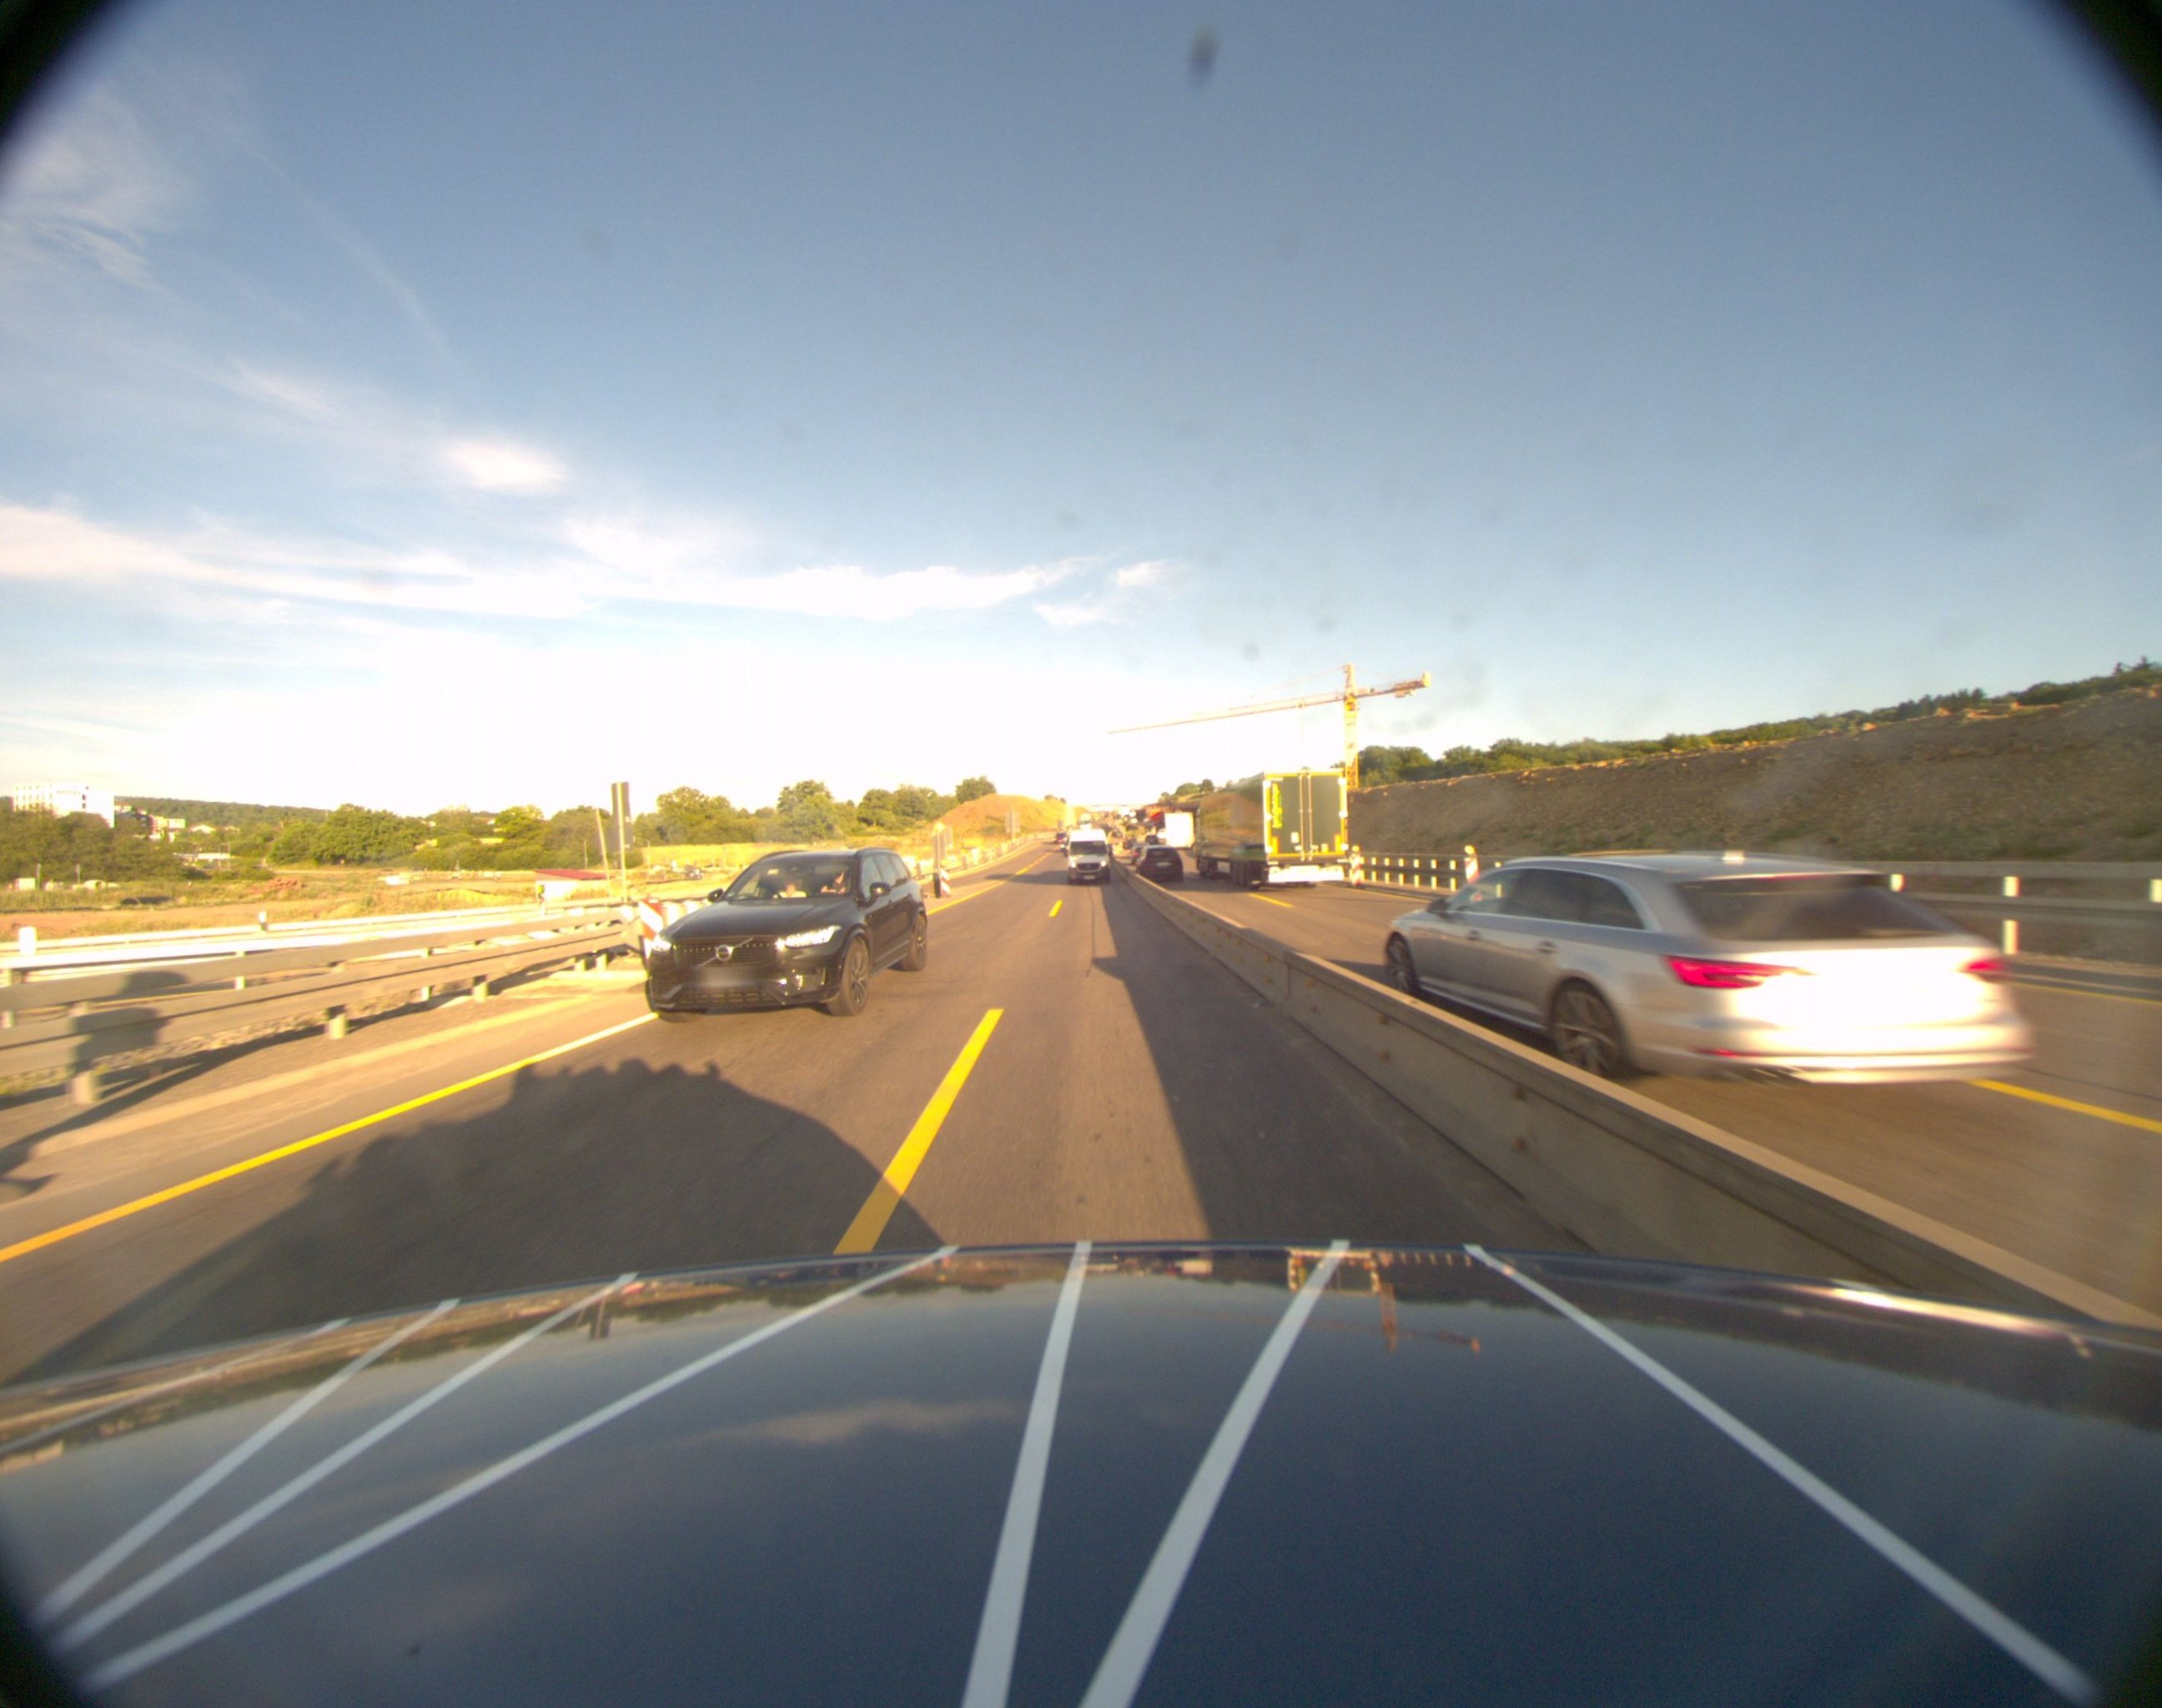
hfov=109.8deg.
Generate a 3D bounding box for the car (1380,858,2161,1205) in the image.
[{"bbox_3d":[3.908,0.807,5.464,1.866,1.423,4.155,-3,0,1],"label":"car"}]

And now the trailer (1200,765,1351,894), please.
[{"bbox_3d":[7.208,-0.827,30.871,2.780,4.008,13.681,-1,0,1],"label":"trailer"}]

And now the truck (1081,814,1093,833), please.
[{"bbox_3d":[1.280,-6.691,166.354,2.264,3.707,6.568,-5,3,-1],"label":"truck"}]

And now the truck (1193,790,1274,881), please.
[{"bbox_3d":[7.329,-0.861,37.278,2.776,4.057,5.775,-2,1,1],"label":"truck"}]

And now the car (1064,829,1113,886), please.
[{"bbox_3d":[0.413,0.082,37.131,2.109,2.519,5.218,-2,2,2],"label":"car"}]

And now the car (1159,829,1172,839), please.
[{"bbox_3d":[13.170,-3.123,118.611,1.792,1.480,4.219,-1,2,5],"label":"car"}]

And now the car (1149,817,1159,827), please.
[{"bbox_3d":[17.564,-7.688,182.267,1.997,2.003,5.257,-2,3,10],"label":"car"}]

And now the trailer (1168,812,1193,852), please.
[{"bbox_3d":[11.758,-2.703,89.886,2.536,4.190,13.935,-3,2,7],"label":"trailer"}]

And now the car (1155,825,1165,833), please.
[{"bbox_3d":[16.746,-5.375,161.741,1.792,1.611,4.874,-2,3,9],"label":"car"}]

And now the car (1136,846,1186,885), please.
[{"bbox_3d":[3.749,0.501,36.154,1.916,1.600,4.494,-2,1,1],"label":"car"}]

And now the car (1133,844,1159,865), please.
[{"bbox_3d":[4.798,0.021,56.222,1.719,1.401,4.327,-2,1,3],"label":"car"}]

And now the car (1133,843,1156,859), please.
[{"bbox_3d":[5.847,-0.304,70.560,1.841,1.401,4.494,-2,1,1],"label":"car"}]

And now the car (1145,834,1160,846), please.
[{"bbox_3d":[9.435,-1.921,100.385,1.854,1.475,4.511,-1,2,6],"label":"car"}]

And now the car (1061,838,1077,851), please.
[{"bbox_3d":[-1.420,-1.136,91.461,1.791,1.477,4.000,-2,0,0],"label":"car"}]

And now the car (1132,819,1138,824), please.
[{"bbox_3d":[16.493,-9.999,232.779,1.734,1.592,4.658,-2,4,1],"label":"car"}]

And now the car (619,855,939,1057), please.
[{"bbox_3d":[-3.175,0.924,9.292,1.902,1.703,4.887,-2,1,0],"label":"car"}]

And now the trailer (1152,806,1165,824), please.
[{"bbox_3d":[20.209,-10.240,198.680,2.589,4.448,14.131,-3,3,4],"label":"trailer"}]
